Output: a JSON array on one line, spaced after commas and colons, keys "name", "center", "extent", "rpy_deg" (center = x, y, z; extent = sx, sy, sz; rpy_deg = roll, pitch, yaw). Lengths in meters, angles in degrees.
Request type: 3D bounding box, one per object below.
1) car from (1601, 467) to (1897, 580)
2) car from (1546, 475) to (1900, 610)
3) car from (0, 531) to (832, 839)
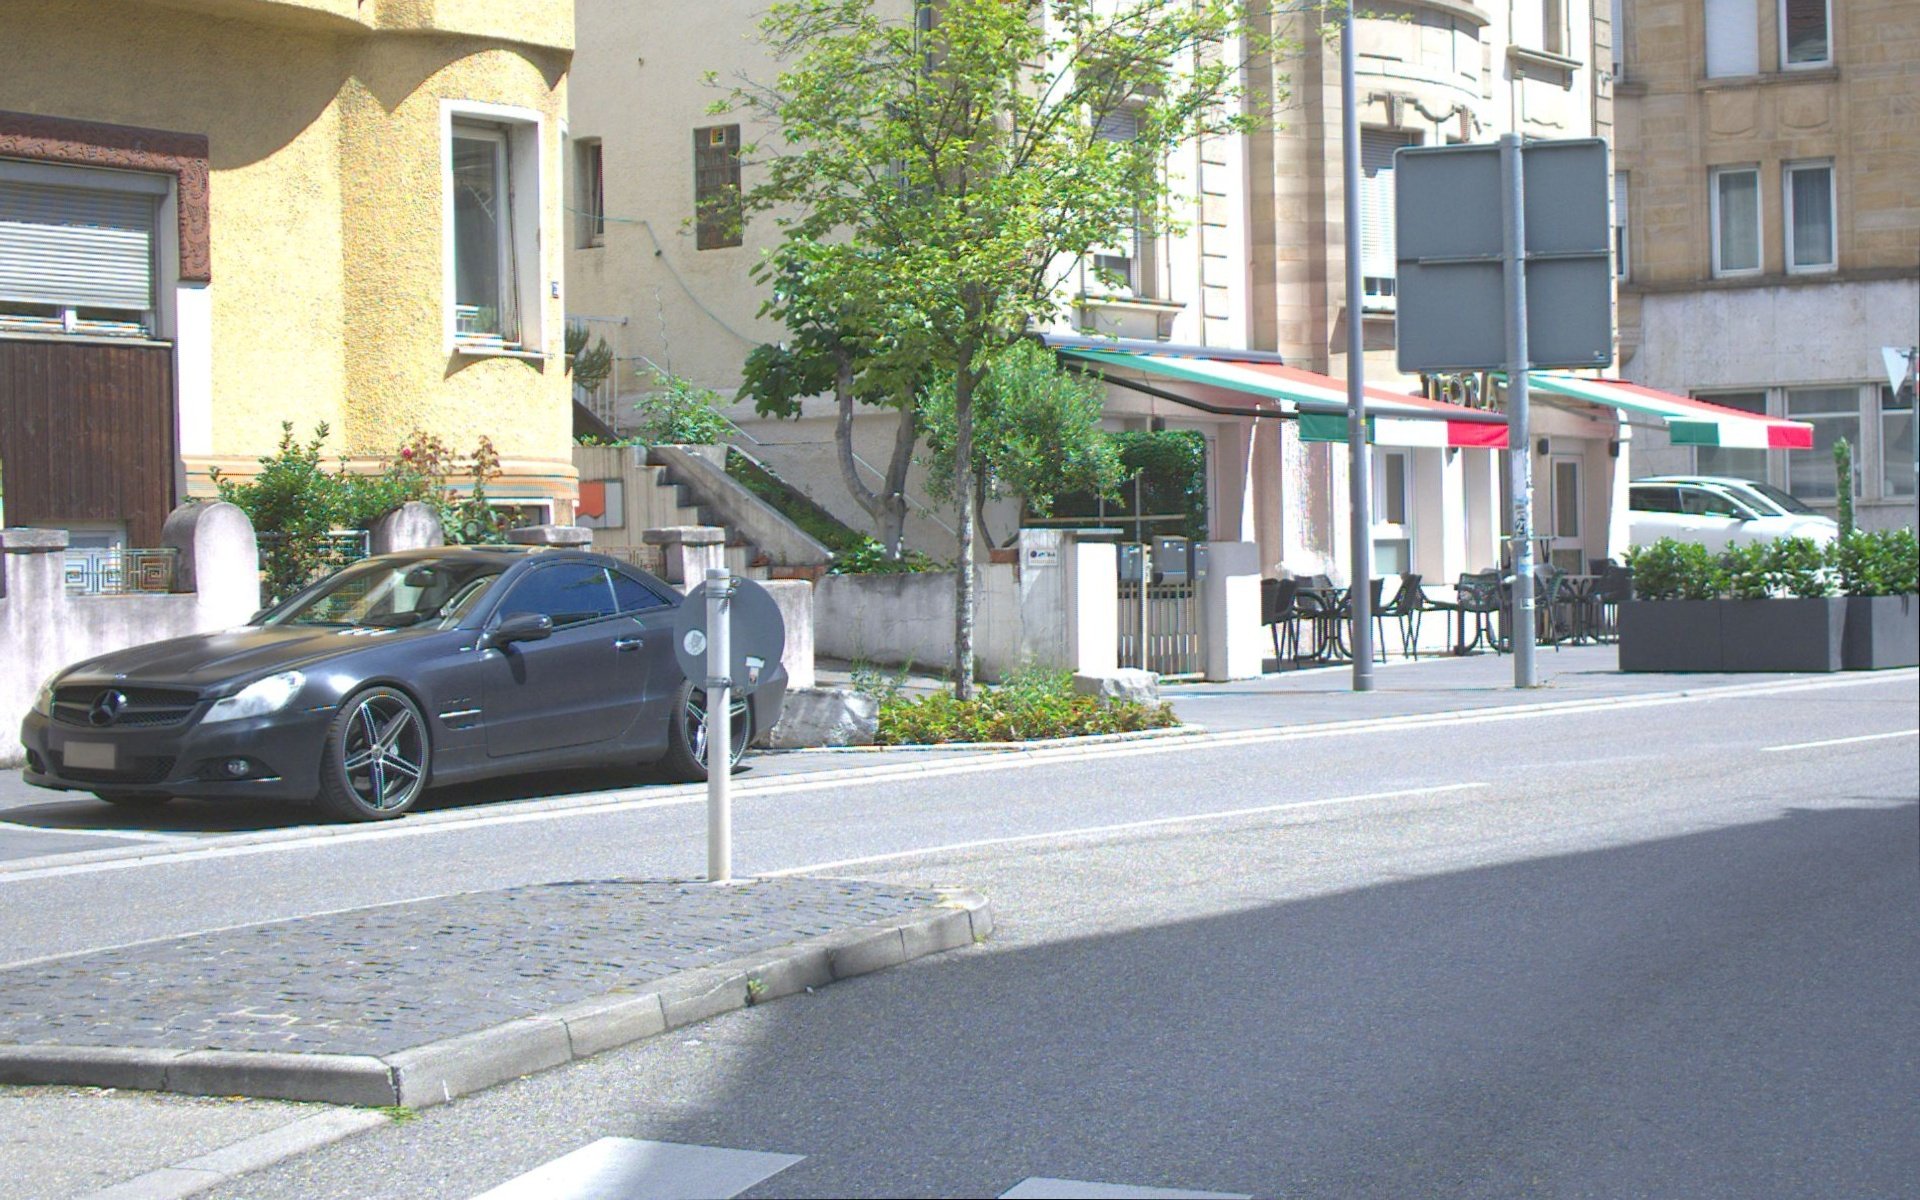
[{"name": "car", "center": [12.028, -1.158, 52.454], "extent": [3.994, 1.656, 1.906], "rpy_deg": [0, 2, 33]}, {"name": "car", "center": [10.397, -0.778, 46.820], "extent": [4.423, 1.769, 1.998], "rpy_deg": [0, 1, 22]}, {"name": "car", "center": [-2.719, 0.339, 17.761], "extent": [1.713, 1.241, 4.402], "rpy_deg": [3, 4, 37]}]
